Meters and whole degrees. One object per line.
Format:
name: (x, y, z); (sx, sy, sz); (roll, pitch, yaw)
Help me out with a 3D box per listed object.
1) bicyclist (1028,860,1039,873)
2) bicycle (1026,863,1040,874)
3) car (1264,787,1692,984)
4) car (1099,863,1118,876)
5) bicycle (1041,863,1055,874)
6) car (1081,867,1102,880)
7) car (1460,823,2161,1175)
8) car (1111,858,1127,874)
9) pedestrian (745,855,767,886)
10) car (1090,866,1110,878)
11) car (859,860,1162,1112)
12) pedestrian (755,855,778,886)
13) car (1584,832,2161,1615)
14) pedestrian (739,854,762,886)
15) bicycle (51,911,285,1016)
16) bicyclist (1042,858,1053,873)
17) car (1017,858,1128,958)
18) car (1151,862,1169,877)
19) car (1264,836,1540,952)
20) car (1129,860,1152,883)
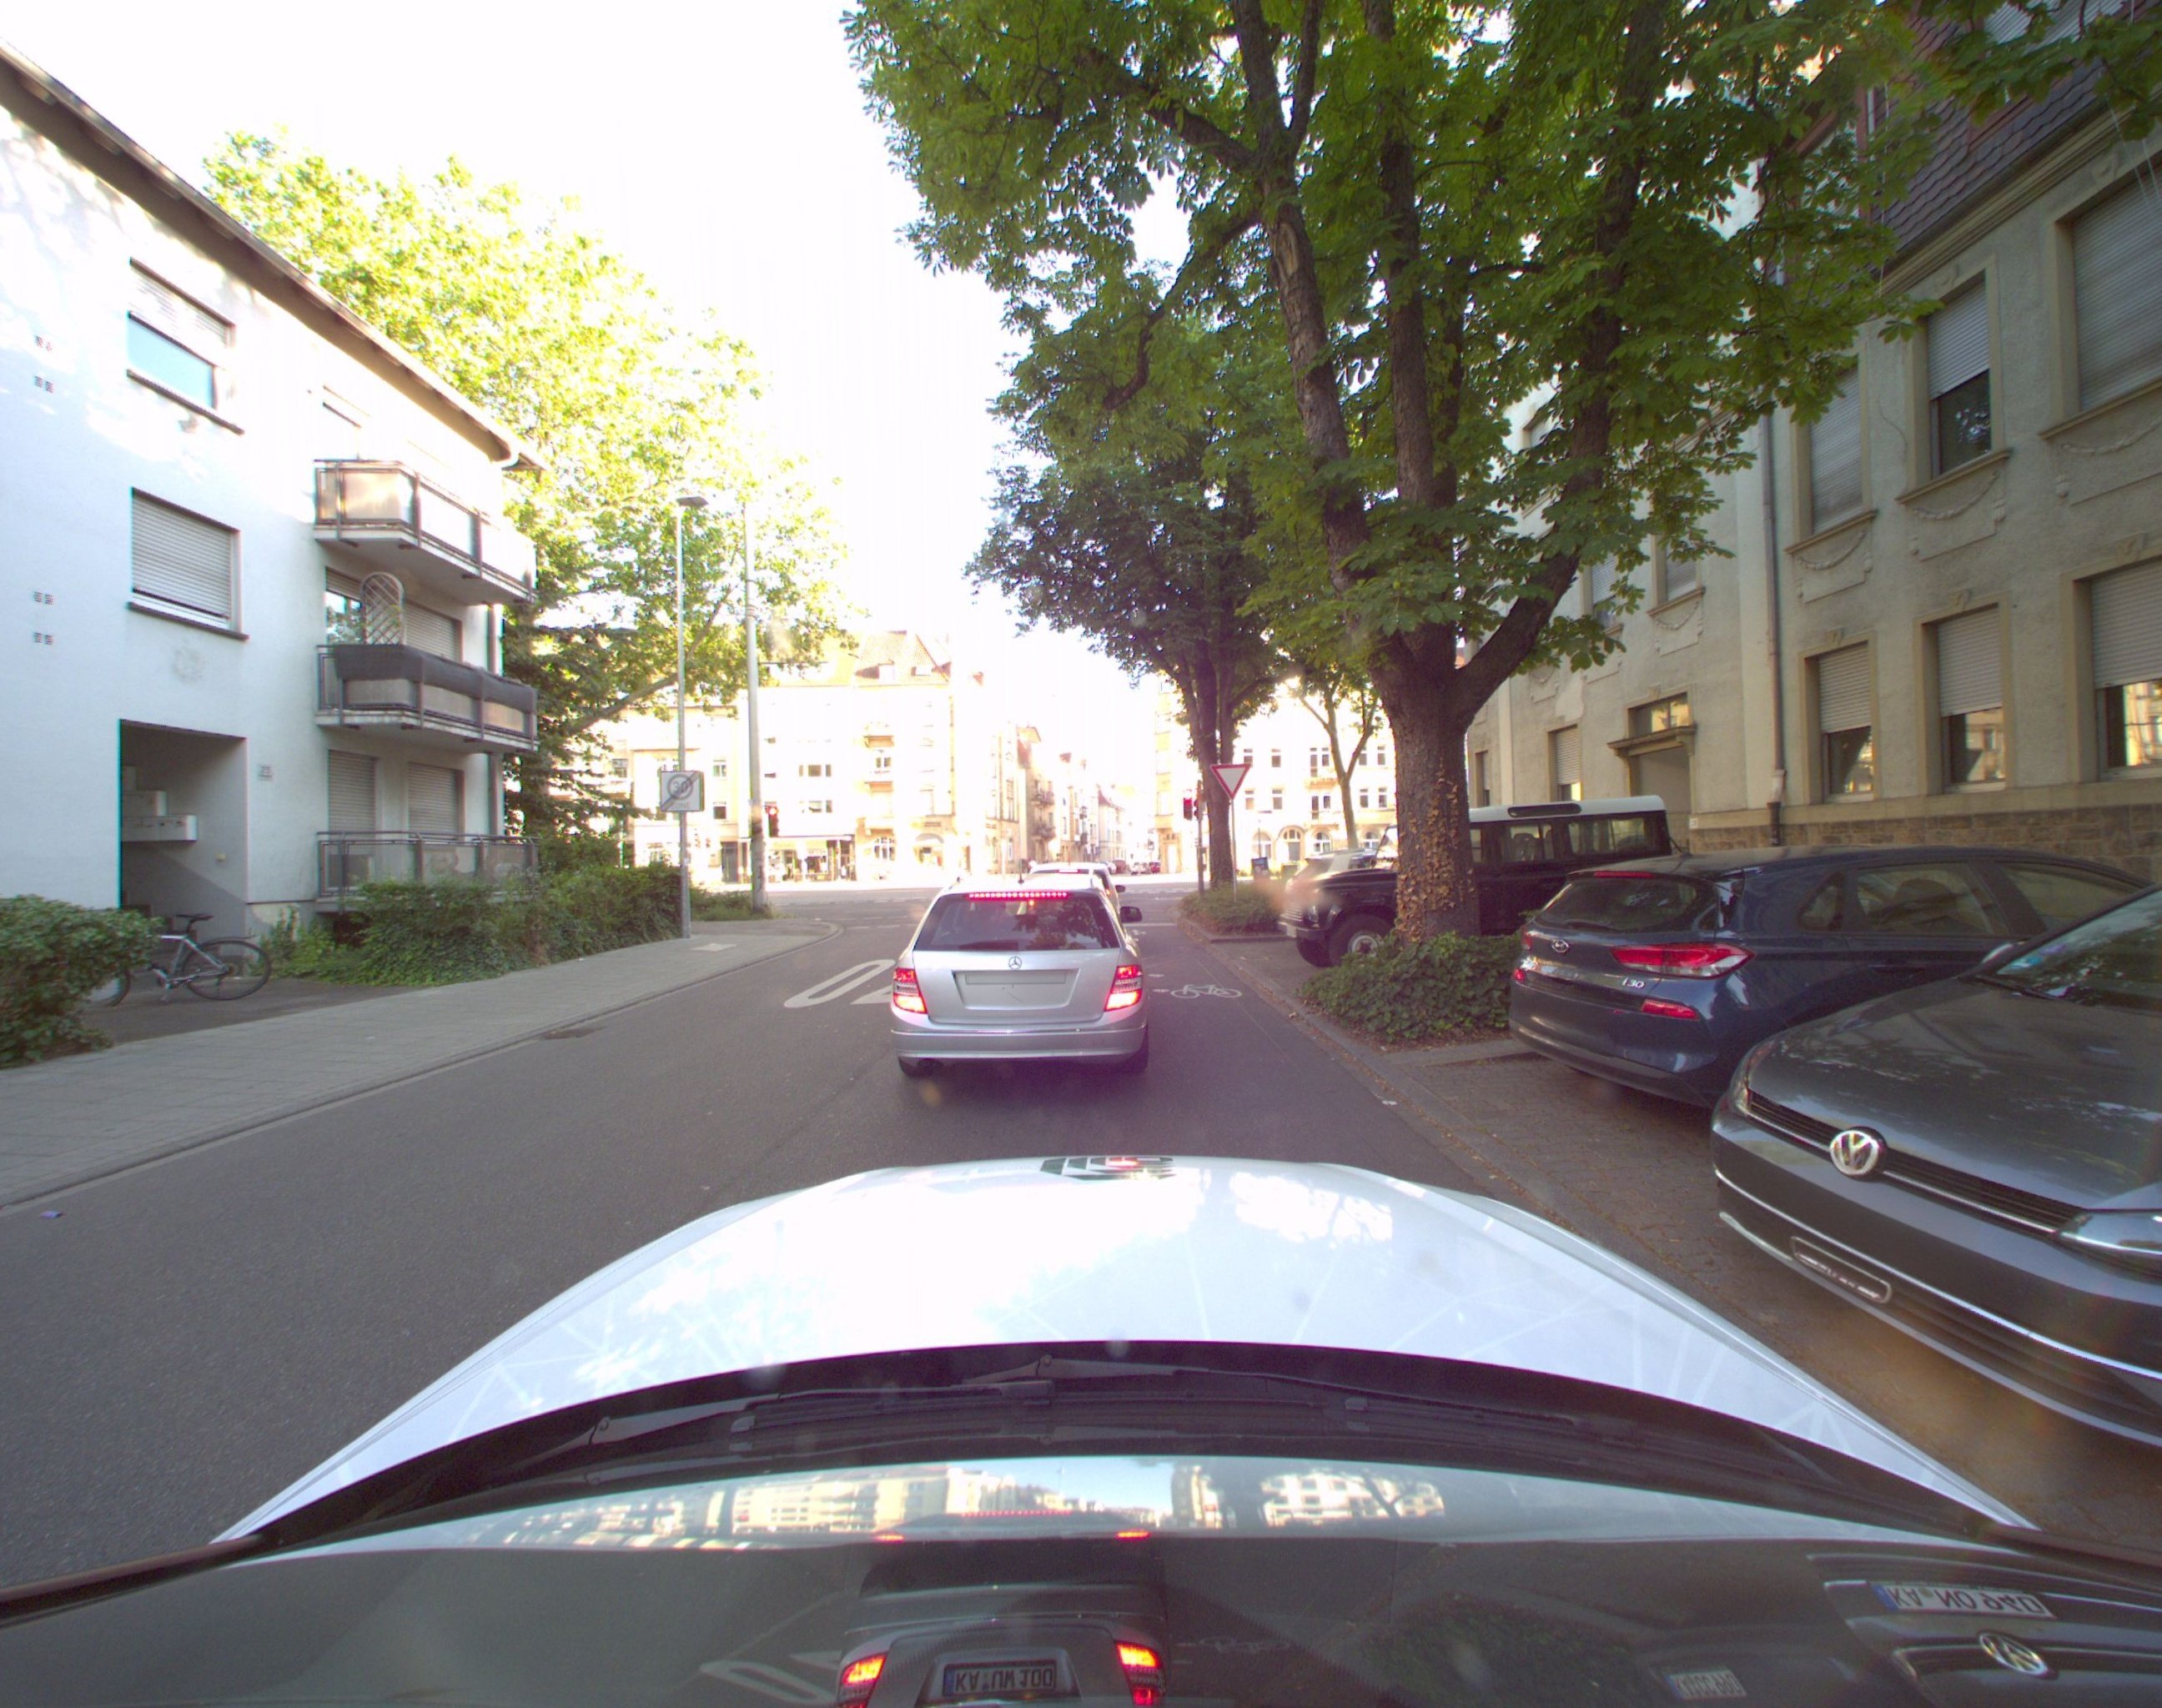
bicyclist: (-4.315, 1.109, 73.728); (0.765, 1.156, 0.755); (-1, 0, 13)
bicycle: (-4.332, 1.331, 73.649); (0.765, 0.940, 1.947); (-1, 0, 13)
car: (4.738, 0.360, 10.133); (4.453, 2.036, 1.700); (-3, -1, -2)
car: (3.697, 2.052, 108.844); (1.824, 1.663, 4.012); (-1, 0, 10)
bicycle: (-3.010, 1.313, 73.705); (0.765, 0.934, 1.947); (-1, 0, 13)
car: (1.316, 2.290, 97.167); (1.824, 1.402, 4.012); (-1, 0, 10)
car: (4.395, 0.627, 4.559); (3.714, 1.452, 1.707); (-3, -1, -2)
car: (5.469, 1.702, 117.403); (1.776, 2.204, 4.012); (-1, 0, 10)
pedestrian: (-26.295, 1.308, 65.847); (1.343, 2.464, 1.059); (-1, 0, -3)
car: (2.386, 2.241, 102.637); (1.824, 1.402, 4.012); (-1, 0, 10)
car: (-0.405, 0.793, 7.086); (1.771, 1.452, 4.547); (-1, 0, 0)
pedestrian: (-25.028, 1.288, 64.810); (1.343, 2.464, 1.059); (-1, 0, -3)
car: (4.030, 0.644, 2.387); (4.042, 1.452, 1.722); (-3, -1, -2)
pedestrian: (-25.987, 1.275, 64.016); (1.343, 2.464, 1.059); (-1, 0, -3)
bicycle: (-9.997, 1.166, 9.010); (1.630, 1.008, 0.511); (2, -2, -39)
bicyclist: (-3.014, 1.019, 73.708); (0.765, 1.290, 0.755); (-1, 0, 13)
car: (-0.111, 0.809, 14.174); (1.614, 1.447, 4.344); (-1, 0, 0)
car: (9.866, 1.889, 101.862); (1.824, 1.744, 4.012); (-1, 0, 10)
car: (5.027, 0.609, 13.093); (3.714, 1.570, 1.707); (-3, -1, -2)
car: (6.297, 1.801, 85.905); (2.018, 2.279, 4.012); (-1, 0, 10)
